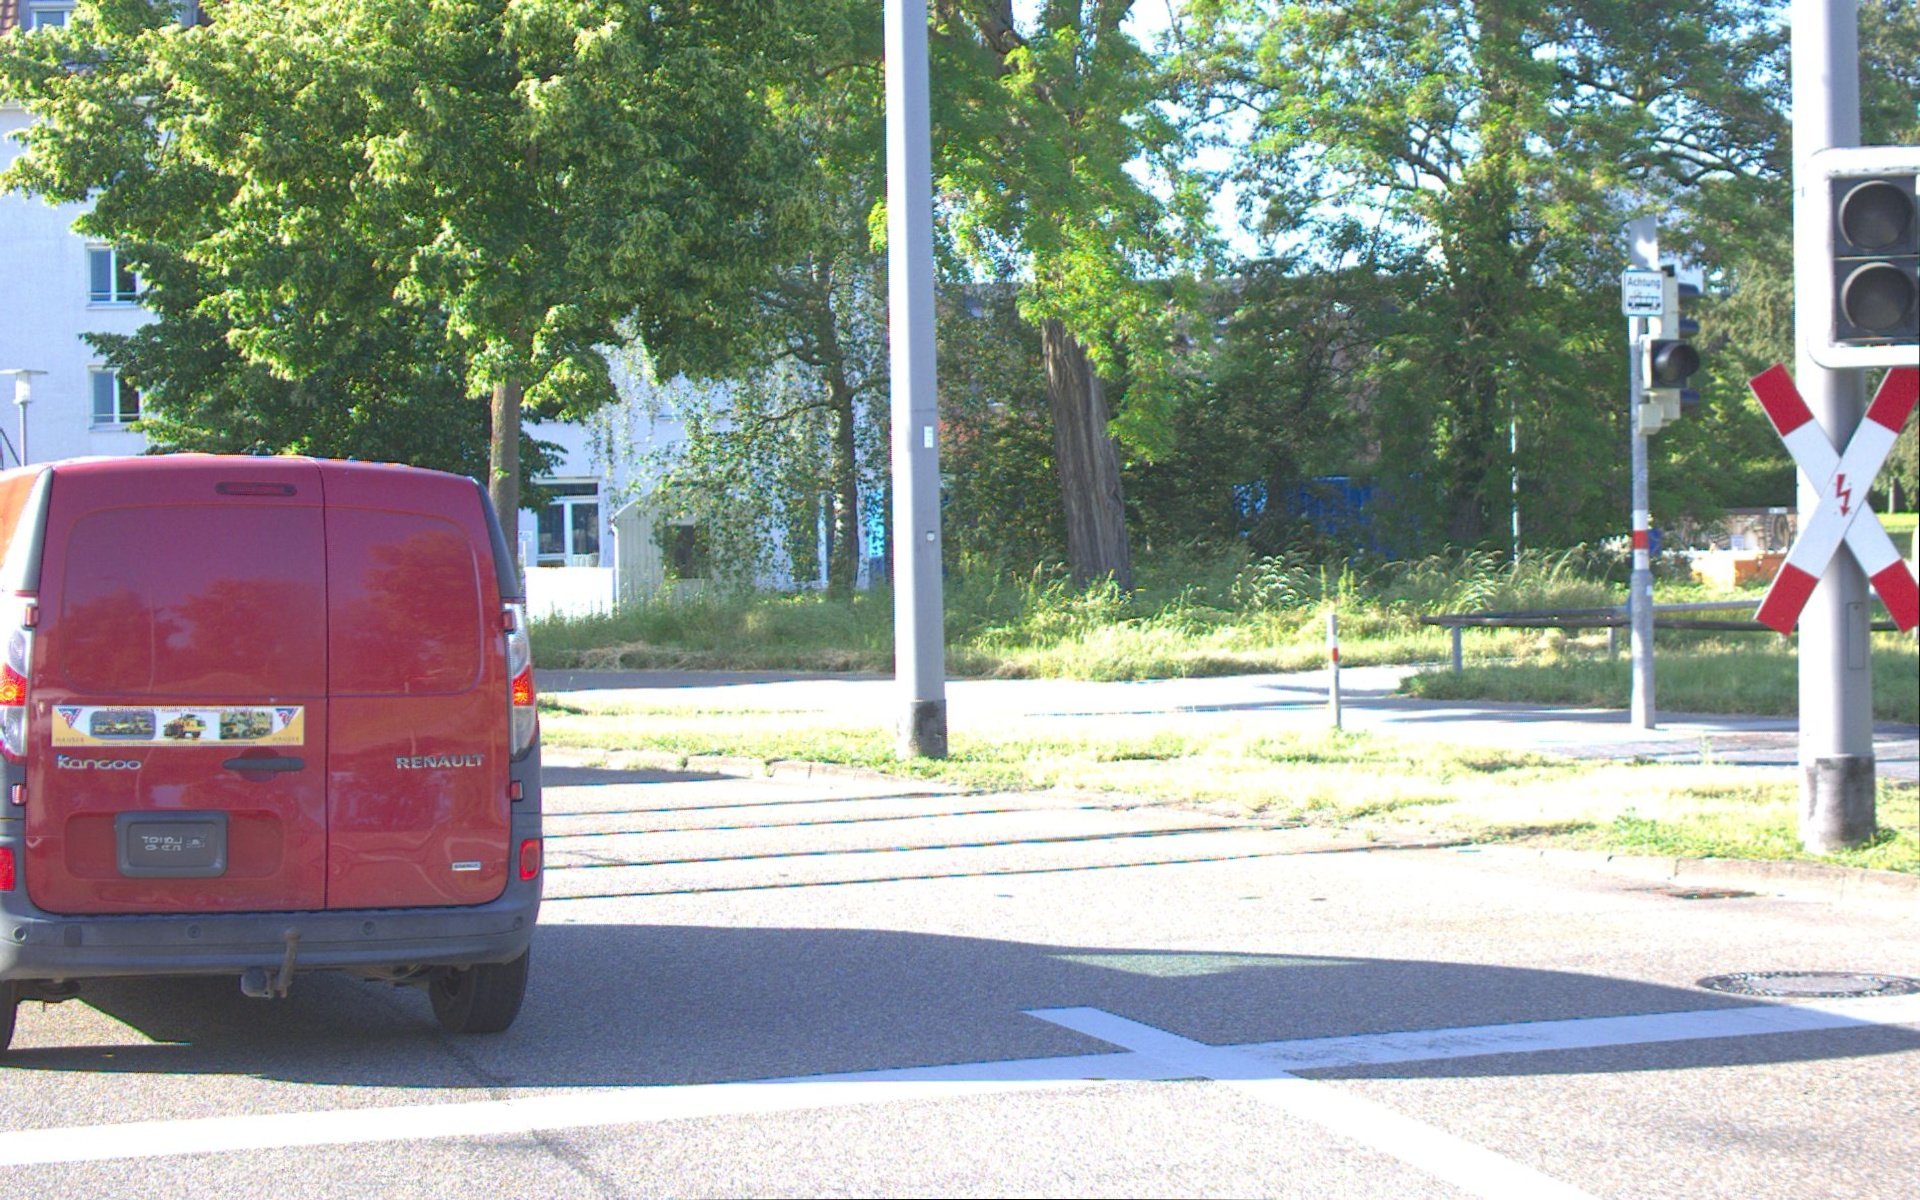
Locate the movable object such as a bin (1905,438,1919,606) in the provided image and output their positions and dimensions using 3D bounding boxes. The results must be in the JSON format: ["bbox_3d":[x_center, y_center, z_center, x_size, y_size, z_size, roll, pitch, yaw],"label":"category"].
[{"bbox_3d":[17.487,-1.320,55.291,1.993,2.779,5.049,0,-1,-17],"label":"movable object such as a bin"}]

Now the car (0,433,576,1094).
[{"bbox_3d":[-2.671,0.417,11.432,1.802,1.807,3.810,0,1,-22],"label":"car"}]

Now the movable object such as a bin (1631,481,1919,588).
[{"bbox_3d":[15.489,-1.223,64.941,5.004,1.941,2.240,0,-1,-14],"label":"movable object such as a bin"}]

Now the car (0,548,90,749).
[{"bbox_3d":[-8.013,0.371,26.319,1.714,1.431,4.152,-1,0,-27],"label":"car"}]
